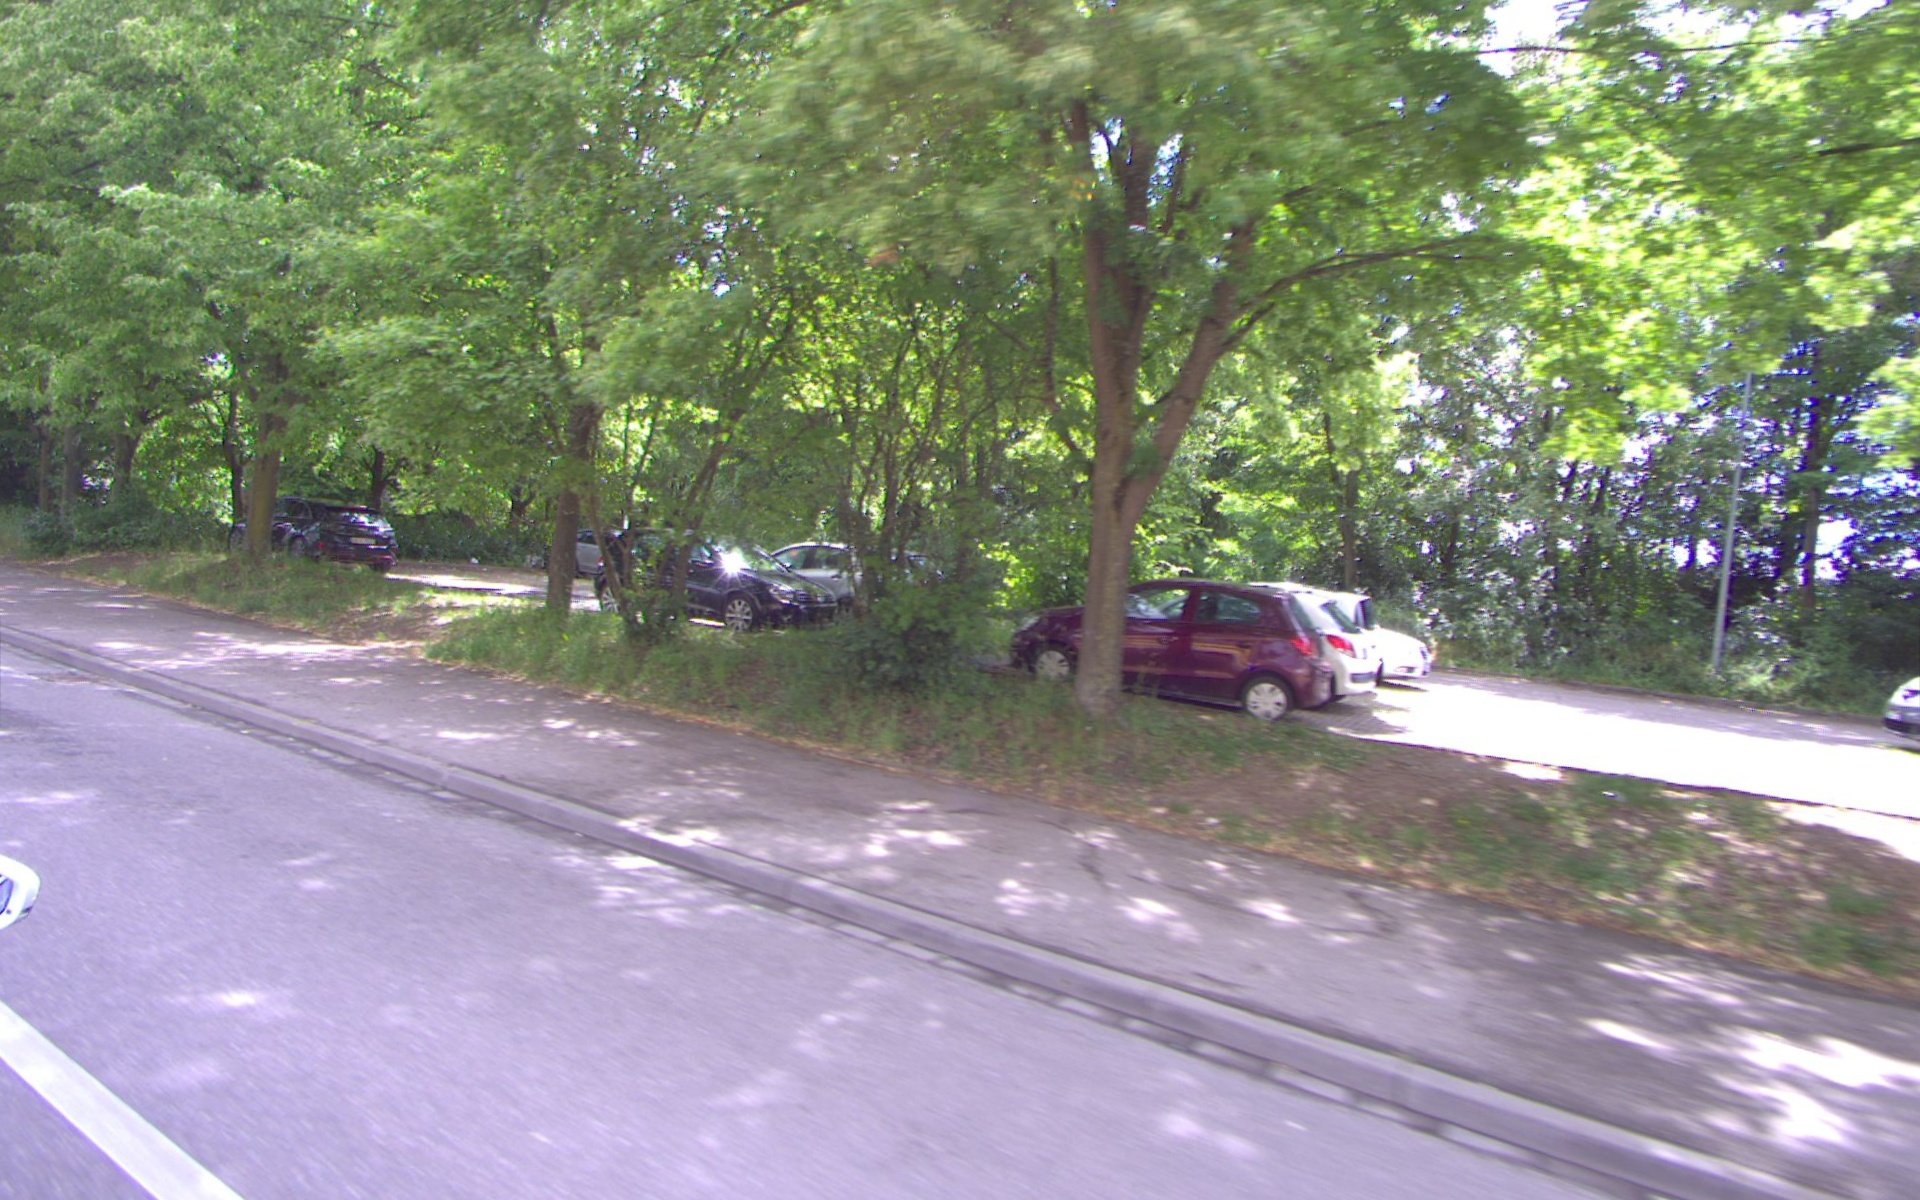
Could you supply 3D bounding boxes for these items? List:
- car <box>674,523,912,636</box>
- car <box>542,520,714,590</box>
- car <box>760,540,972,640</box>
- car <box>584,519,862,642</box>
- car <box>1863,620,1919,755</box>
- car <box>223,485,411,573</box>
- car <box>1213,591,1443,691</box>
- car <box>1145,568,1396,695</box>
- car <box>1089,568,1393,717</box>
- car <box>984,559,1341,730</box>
[{"bbox_3d":[-2.996,-0.377,17.881,3.922,1.587,1.636,6,1,30],"label":"car"},{"bbox_3d":[-9.363,-1.286,28.245,4.801,1.528,1.993,6,2,33],"label":"car"},{"bbox_3d":[-1.911,-0.237,20.115,3.922,1.588,1.608,6,3,30],"label":"car"},{"bbox_3d":[-3.684,-0.313,15.527,3.922,1.483,1.799,6,1,30],"label":"car"},{"bbox_3d":[15.120,1.396,13.434,4.137,1.815,1.613,7,3,30],"label":"car"},{"bbox_3d":[-13.802,-1.531,21.542,4.090,1.528,1.715,6,2,31],"label":"car"},{"bbox_3d":[6.685,0.688,18.338,3.561,1.335,1.787,7,3,31],"label":"car"},{"bbox_3d":[5.129,0.466,16.718,3.561,1.636,1.692,7,3,31],"label":"car"},{"bbox_3d":[3.809,0.499,13.771,3.561,1.528,1.692,7,3,31],"label":"car"},{"bbox_3d":[2.372,0.450,11.821,3.749,1.432,1.612,7,2,23],"label":"car"}]
